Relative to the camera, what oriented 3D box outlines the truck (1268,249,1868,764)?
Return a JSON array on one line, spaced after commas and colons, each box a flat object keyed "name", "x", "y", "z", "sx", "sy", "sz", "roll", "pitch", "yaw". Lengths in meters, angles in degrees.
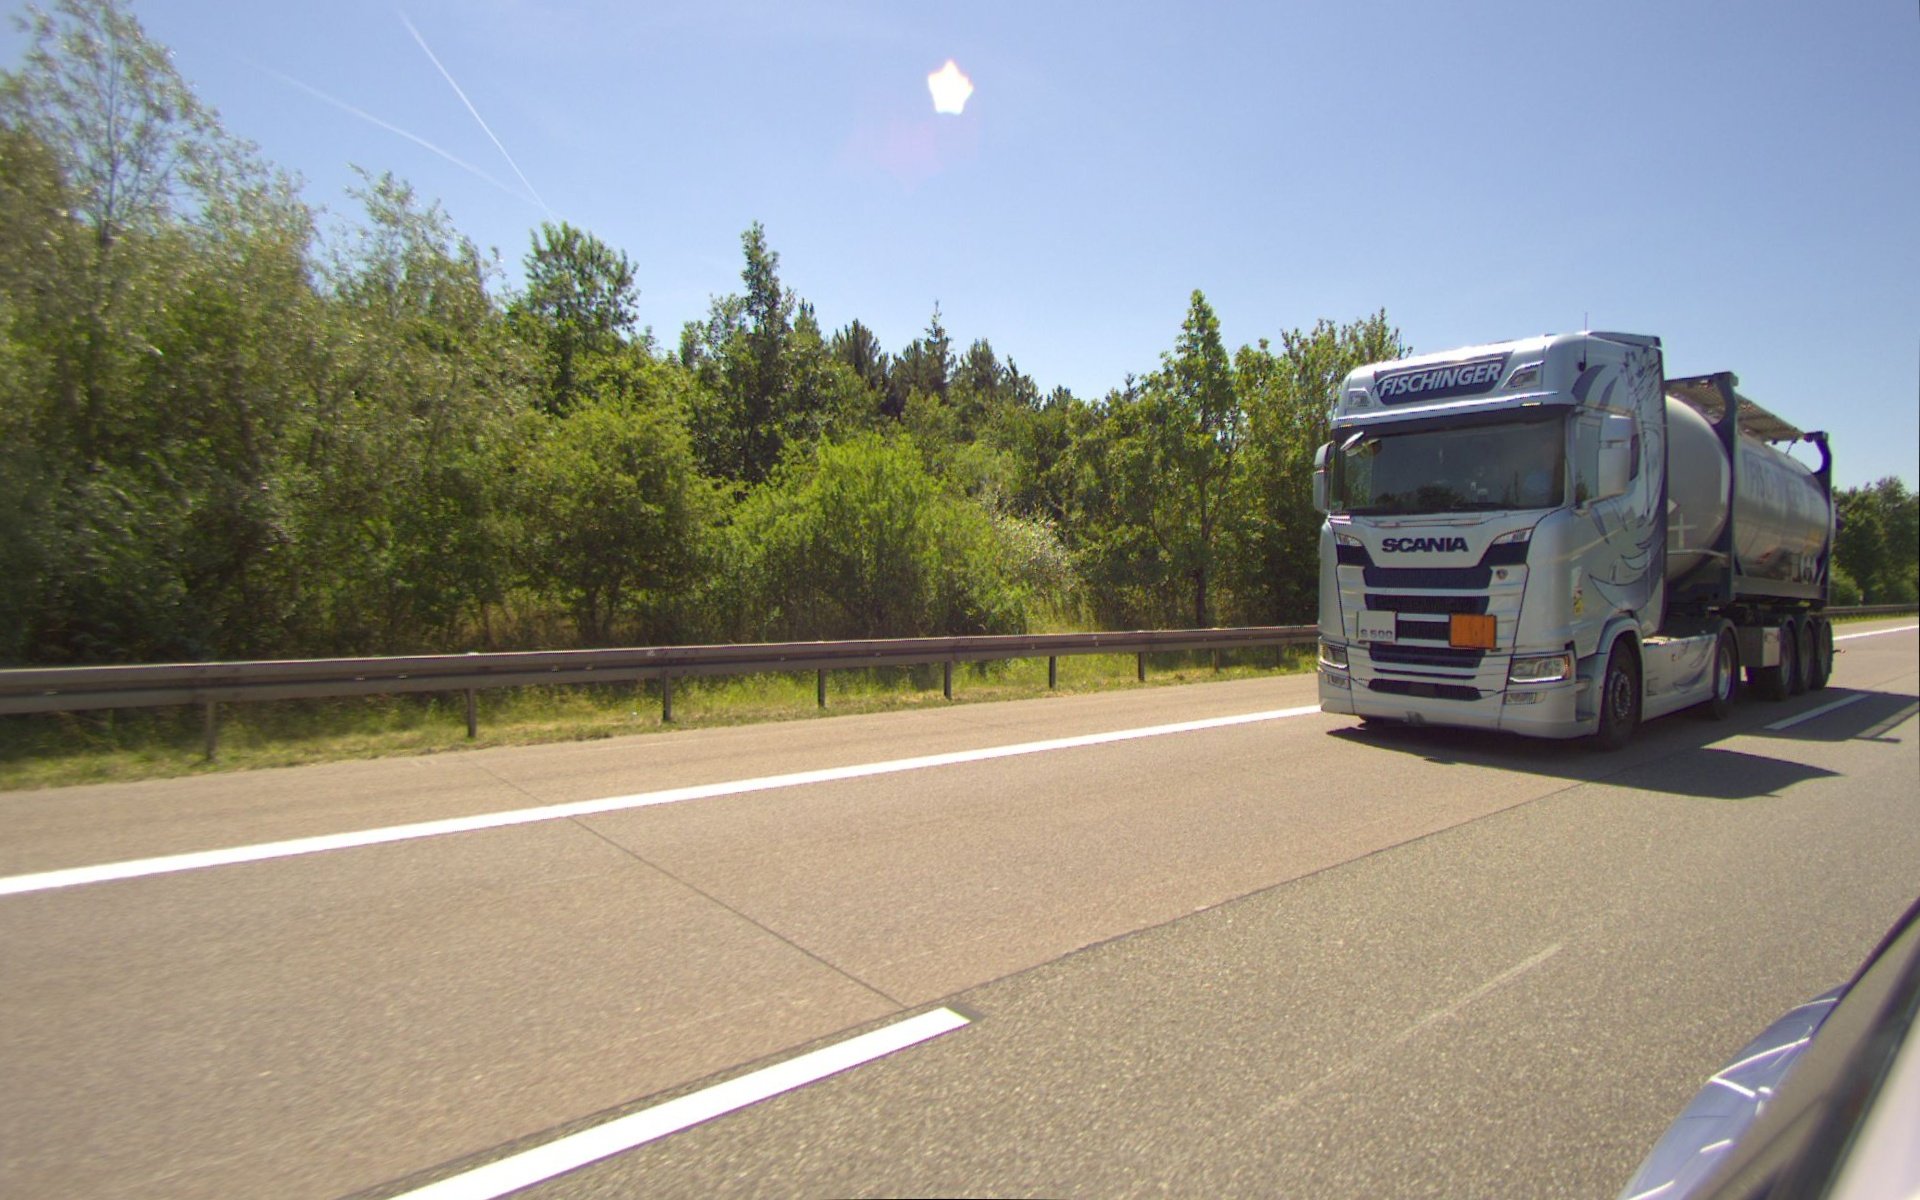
[{"name": "truck", "x": 8.990, "y": -0.819, "z": 13.392, "sx": 13.120, "sy": 4.097, "sz": 2.803, "roll": -1, "pitch": 0, "yaw": -41}]
